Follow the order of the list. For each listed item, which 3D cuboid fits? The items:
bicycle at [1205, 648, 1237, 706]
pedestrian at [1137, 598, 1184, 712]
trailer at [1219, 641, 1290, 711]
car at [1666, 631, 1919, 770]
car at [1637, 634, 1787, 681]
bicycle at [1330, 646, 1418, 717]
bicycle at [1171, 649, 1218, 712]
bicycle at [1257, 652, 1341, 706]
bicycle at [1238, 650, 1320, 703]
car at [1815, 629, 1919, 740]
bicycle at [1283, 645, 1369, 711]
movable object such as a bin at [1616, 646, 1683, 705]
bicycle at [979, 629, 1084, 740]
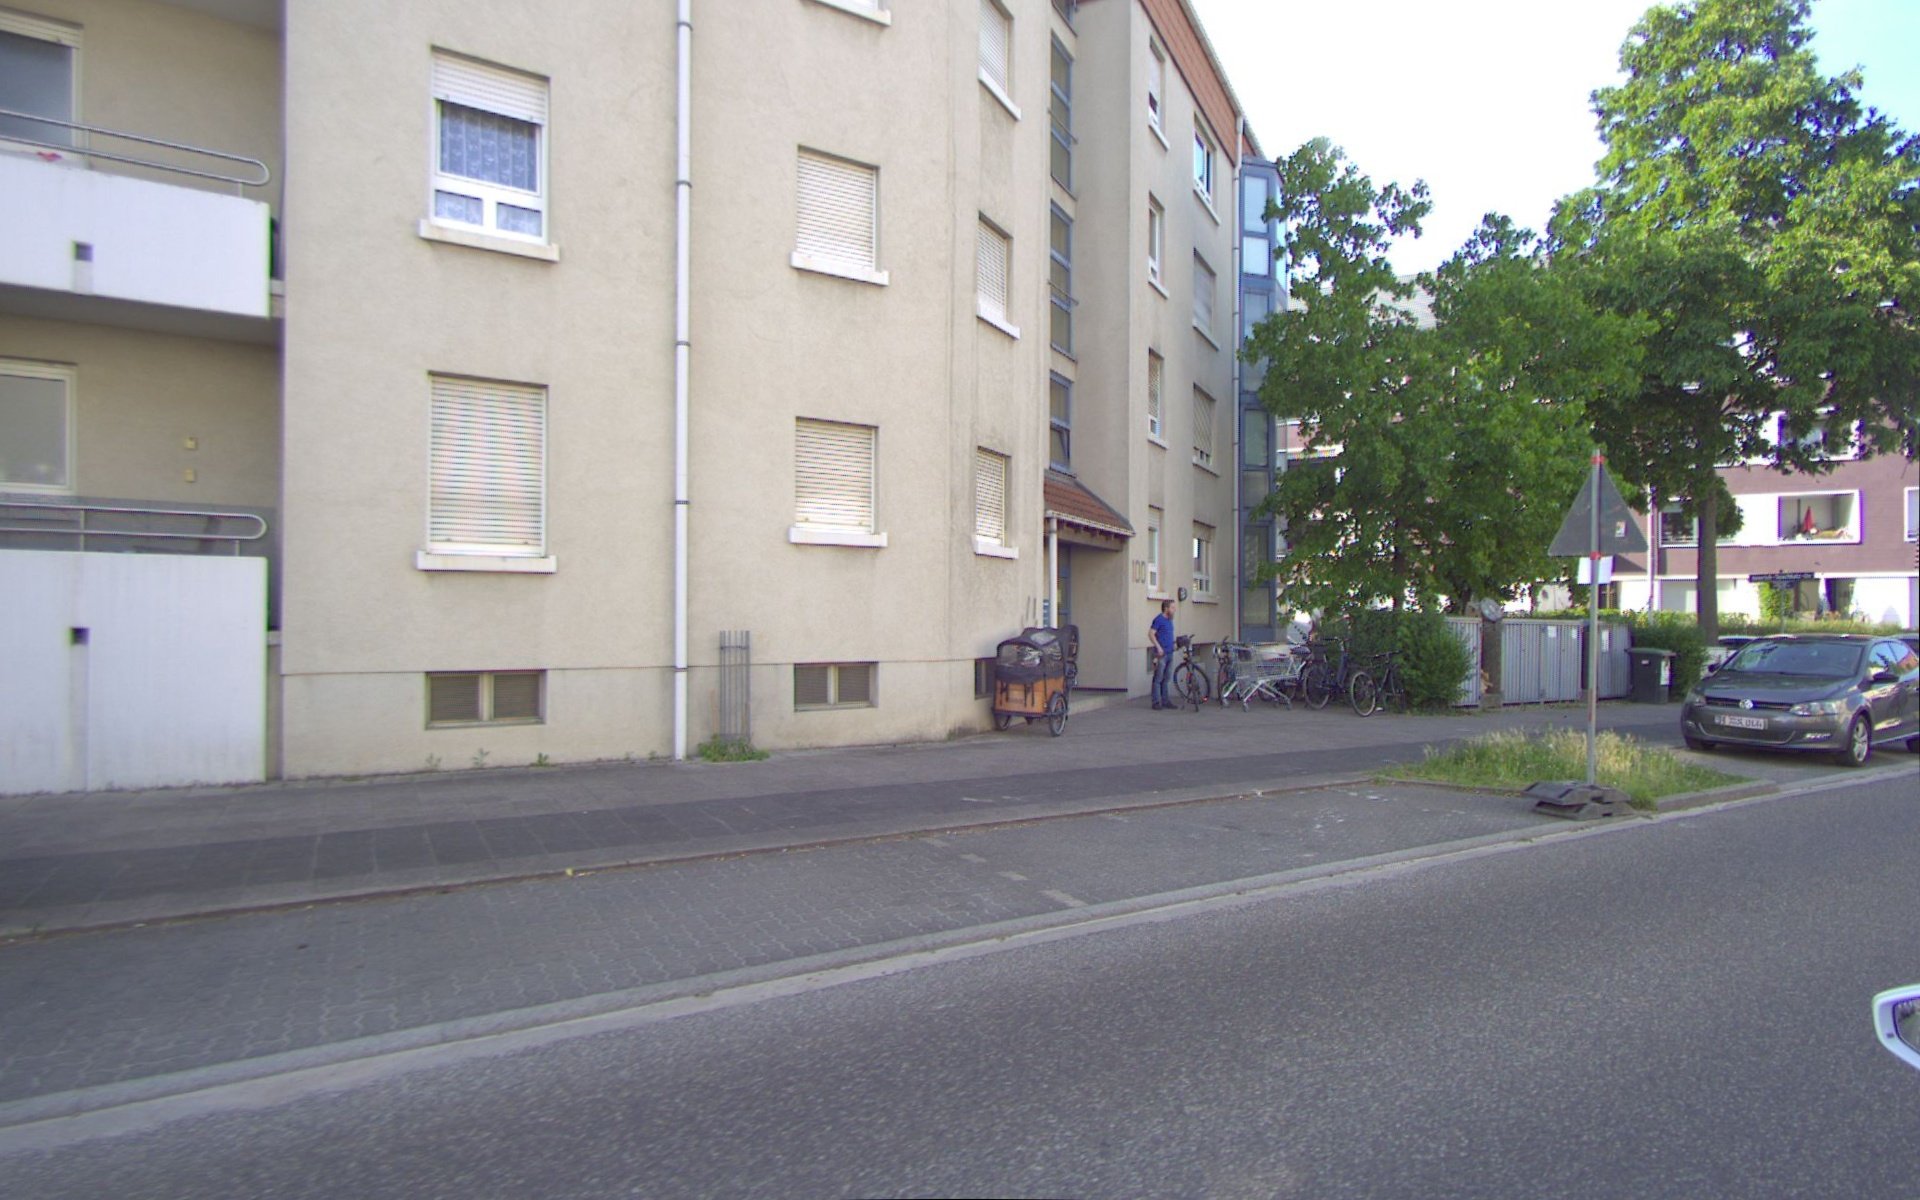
[{"bbox_3d":[4.374,1.278,16.880,0.453,0.893,1.241,0,-1,12],"label":"bicycle"},{"bbox_3d":[3.170,0.859,15.874,0.519,1.746,0.441,1,1,-30],"label":"pedestrian"},{"bbox_3d":[4.661,1.196,15.920,0.894,1.070,0.584,1,-1,-15],"label":"trailer"},{"bbox_3d":[10.451,1.129,12.356,3.761,1.439,1.565,1,-1,-32],"label":"car"},{"bbox_3d":[22.609,1.694,30.366,3.395,1.305,1.662,0,-1,28],"label":"car"},{"bbox_3d":[6.510,1.256,15.765,1.666,1.036,0.458,1,-1,-35],"label":"bicycle"},{"bbox_3d":[3.727,1.262,16.024,0.454,0.863,1.454,1,1,3],"label":"bicycle"},{"bbox_3d":[5.782,1.322,17.083,1.666,0.863,0.458,1,-1,-35],"label":"bicycle"},{"bbox_3d":[5.587,1.318,17.556,1.666,0.863,0.458,1,-1,-35],"label":"bicycle"},{"bbox_3d":[14.828,1.234,15.324,3.957,1.521,1.666,1,-1,-33],"label":"car"},{"bbox_3d":[6.023,1.256,16.478,1.666,1.006,0.458,1,-1,-35],"label":"bicycle"},{"bbox_3d":[13.253,1.442,19.319,0.807,1.054,0.748,1,2,-30],"label":"movable object such as a bin"},{"bbox_3d":[0.893,0.999,12.310,0.874,1.266,1.209,0,-1,28],"label":"bicycle"}]
